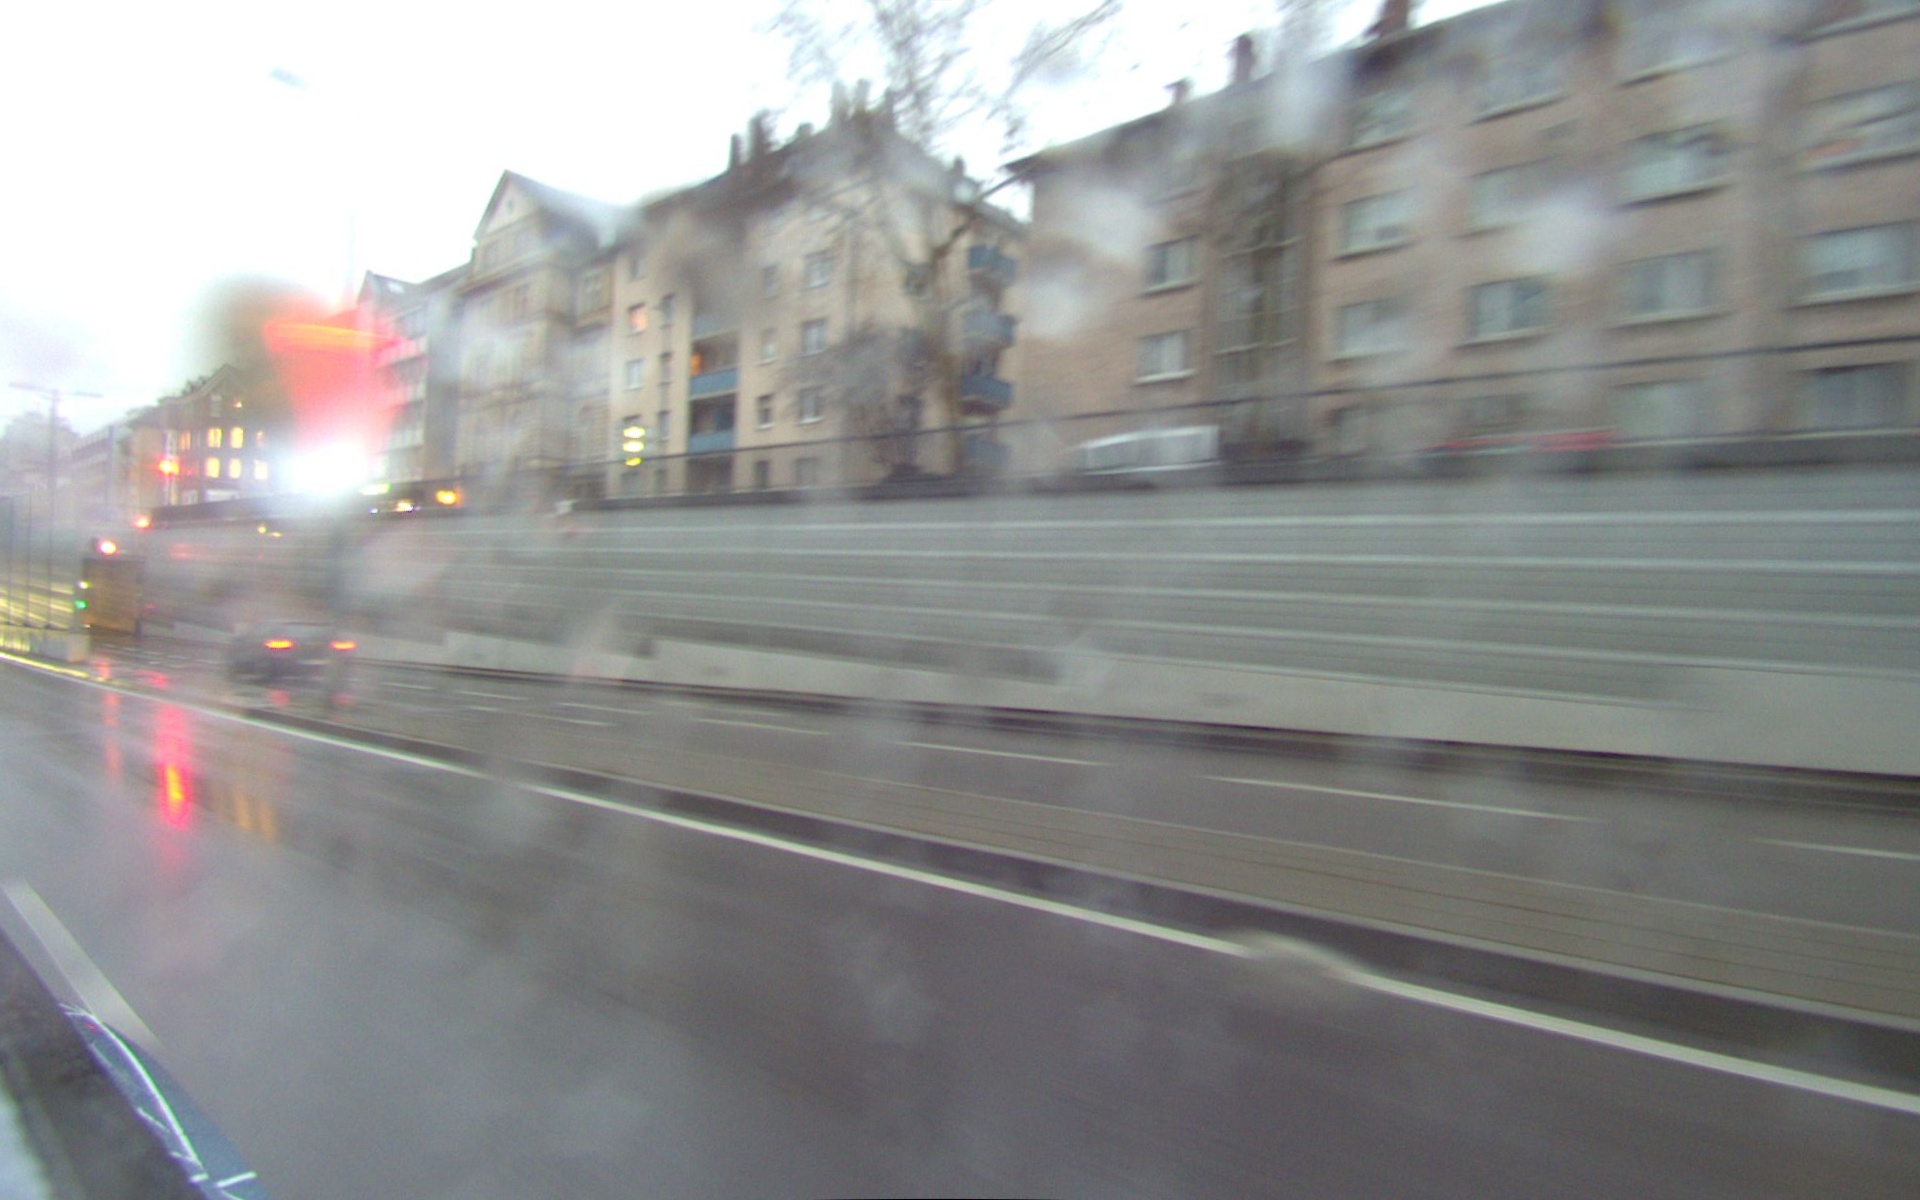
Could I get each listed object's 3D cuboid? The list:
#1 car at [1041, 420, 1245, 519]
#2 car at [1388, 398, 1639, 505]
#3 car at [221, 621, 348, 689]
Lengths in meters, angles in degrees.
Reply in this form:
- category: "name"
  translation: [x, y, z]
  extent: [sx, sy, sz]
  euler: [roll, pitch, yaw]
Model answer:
- category: "car"
  translation: [3.367, -2.356, 18.921]
  extent: [3.404, 1.408, 1.549]
  euler: [2, -2, 41]
- category: "car"
  translation: [10.352, -2.698, 19.080]
  extent: [3.877, 1.484, 1.549]
  euler: [2, -2, 41]
- category: "car"
  translation: [-16.025, 1.244, 23.957]
  extent: [3.684, 1.482, 1.555]
  euler: [-1, -2, 41]
